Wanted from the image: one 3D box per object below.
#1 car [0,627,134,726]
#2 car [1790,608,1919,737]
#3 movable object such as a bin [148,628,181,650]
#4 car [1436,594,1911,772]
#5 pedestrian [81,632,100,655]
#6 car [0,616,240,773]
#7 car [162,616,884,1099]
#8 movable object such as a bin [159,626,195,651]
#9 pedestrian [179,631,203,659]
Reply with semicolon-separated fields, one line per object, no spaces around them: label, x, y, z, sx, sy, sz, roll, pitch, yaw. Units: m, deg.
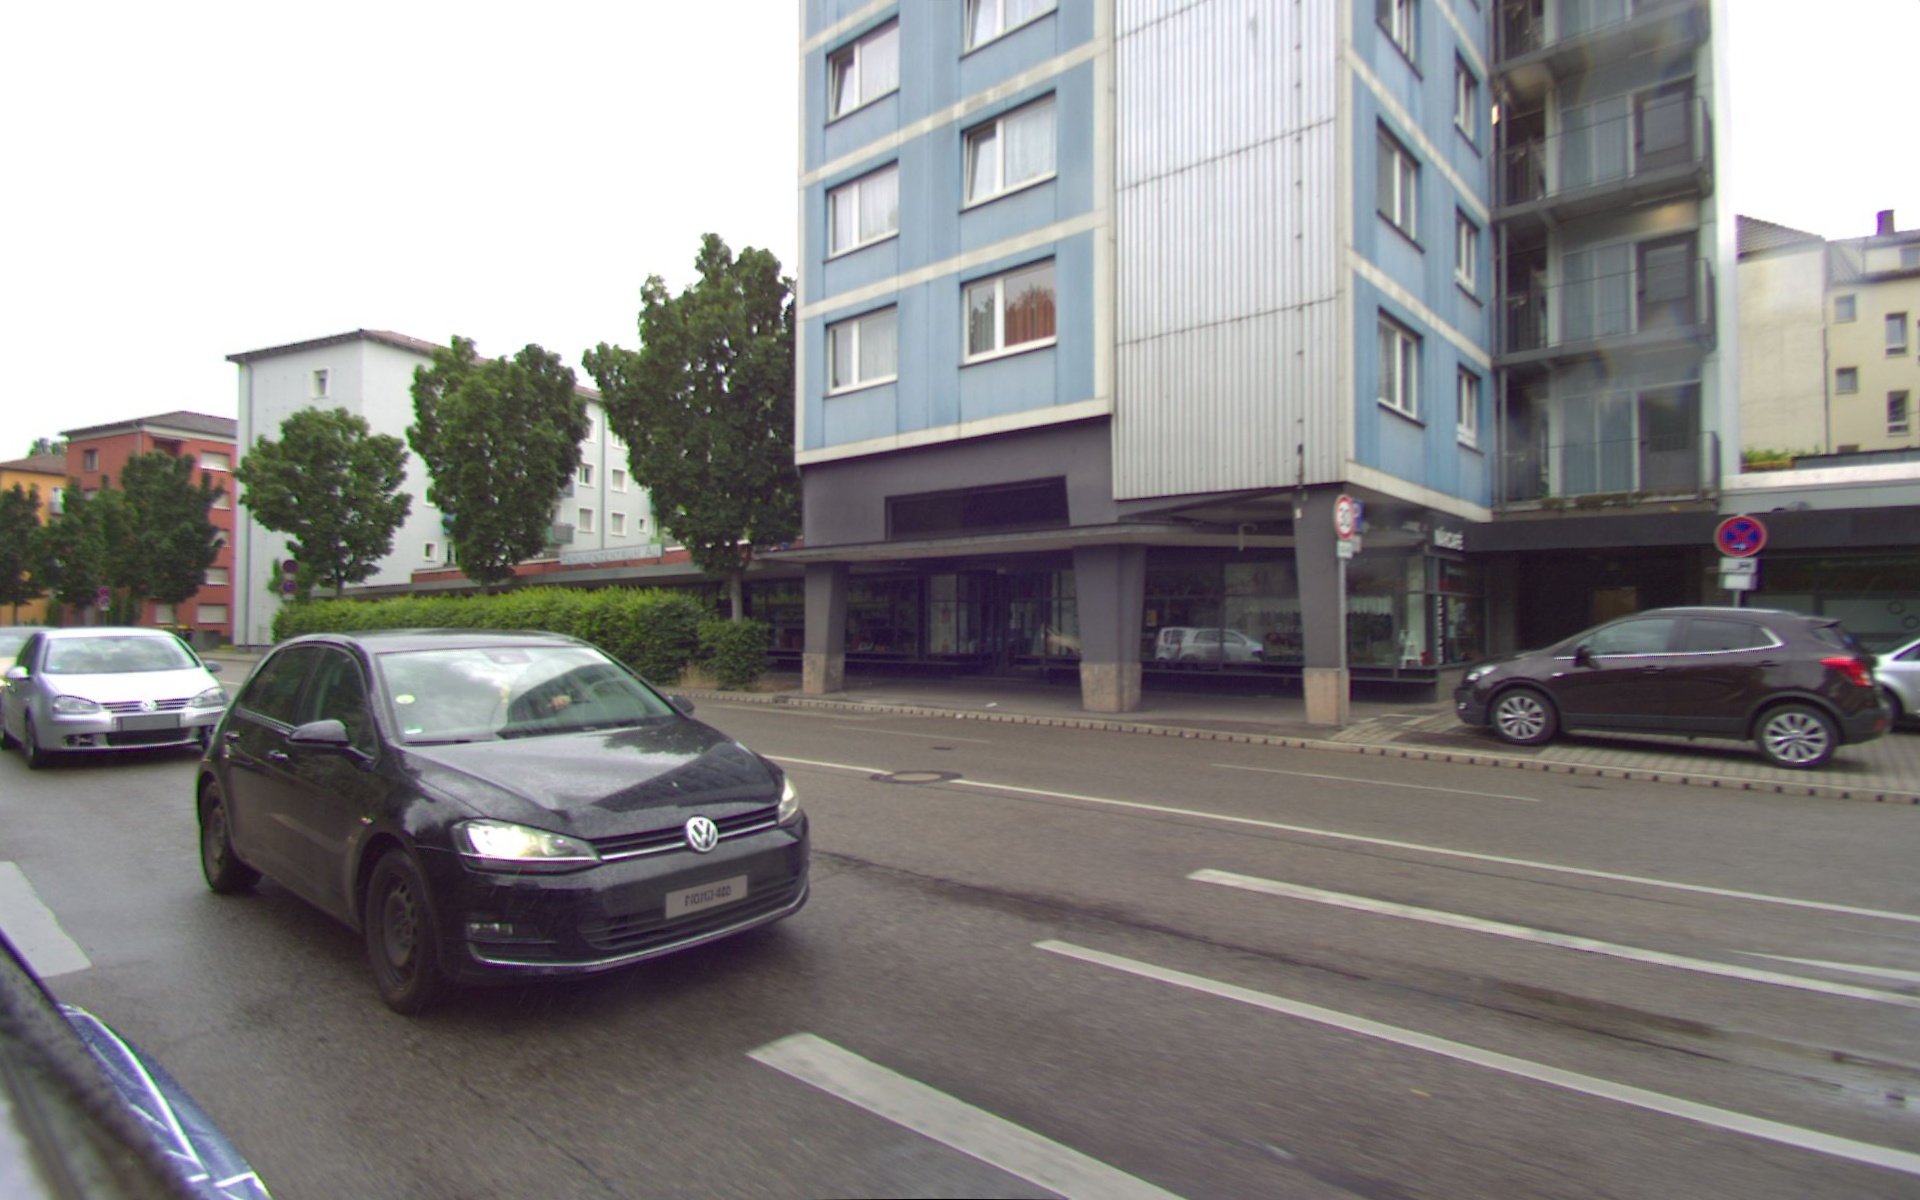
car;-15.755;1.208;17.108;4.584;1.475;2.044;-2;-2;41
car;13.805;0.942;13.255;4.507;1.667;1.973;-1;-2;40
movable object such as a bin;-50.724;2.479;64.535;1.961;1.341;1.147;-2;-2;35
car;8.055;0.843;11.777;4.285;1.719;1.523;-1;-1;41
pedestrian;-57.420;2.867;66.836;0.833;1.460;0.666;-1;-3;31
car;-9.999;0.966;11.732;4.159;1.498;1.726;-1;-2;41
car;-2.411;0.850;5.076;3.998;1.464;1.737;-1;-3;41
movable object such as a bin;-48.948;2.406;63.283;2.082;1.496;1.205;-2;-2;35
pedestrian;-42.268;2.484;55.644;1.066;1.529;0.687;-1;-3;32
